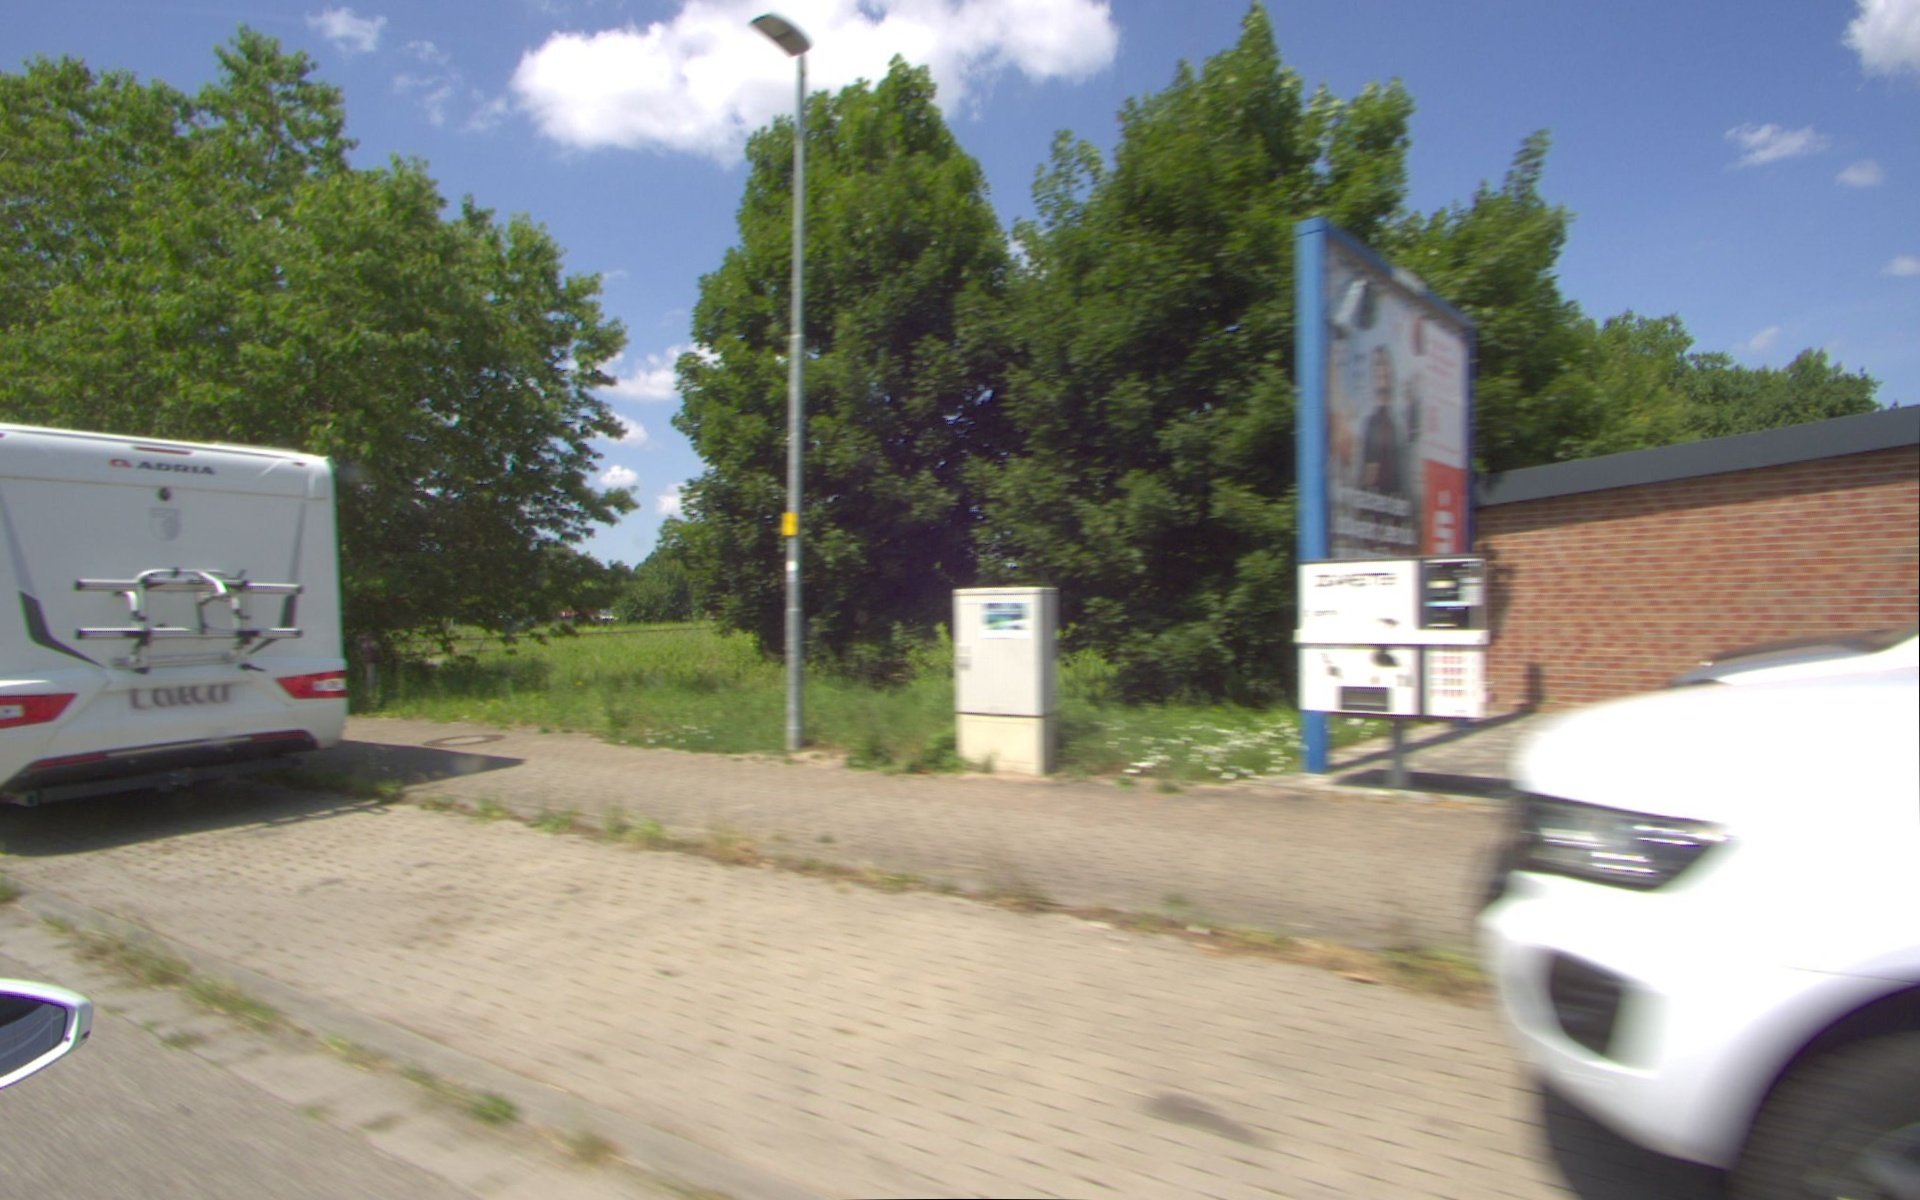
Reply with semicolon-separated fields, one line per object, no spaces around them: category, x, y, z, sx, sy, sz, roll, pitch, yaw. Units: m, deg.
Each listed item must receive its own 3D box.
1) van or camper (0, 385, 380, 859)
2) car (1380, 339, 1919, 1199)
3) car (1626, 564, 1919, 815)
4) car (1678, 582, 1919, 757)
van or camper;-8.443;0.158;8.916;7.514;2.865;2.433;-1;1;32
car;3.628;0.458;1.462;5.347;1.839;1.843;-1;1;32
car;6.711;0.523;6.367;3.953;1.499;1.896;-1;0;40
car;8.639;0.551;8.536;3.955;1.394;1.737;-1;1;42
